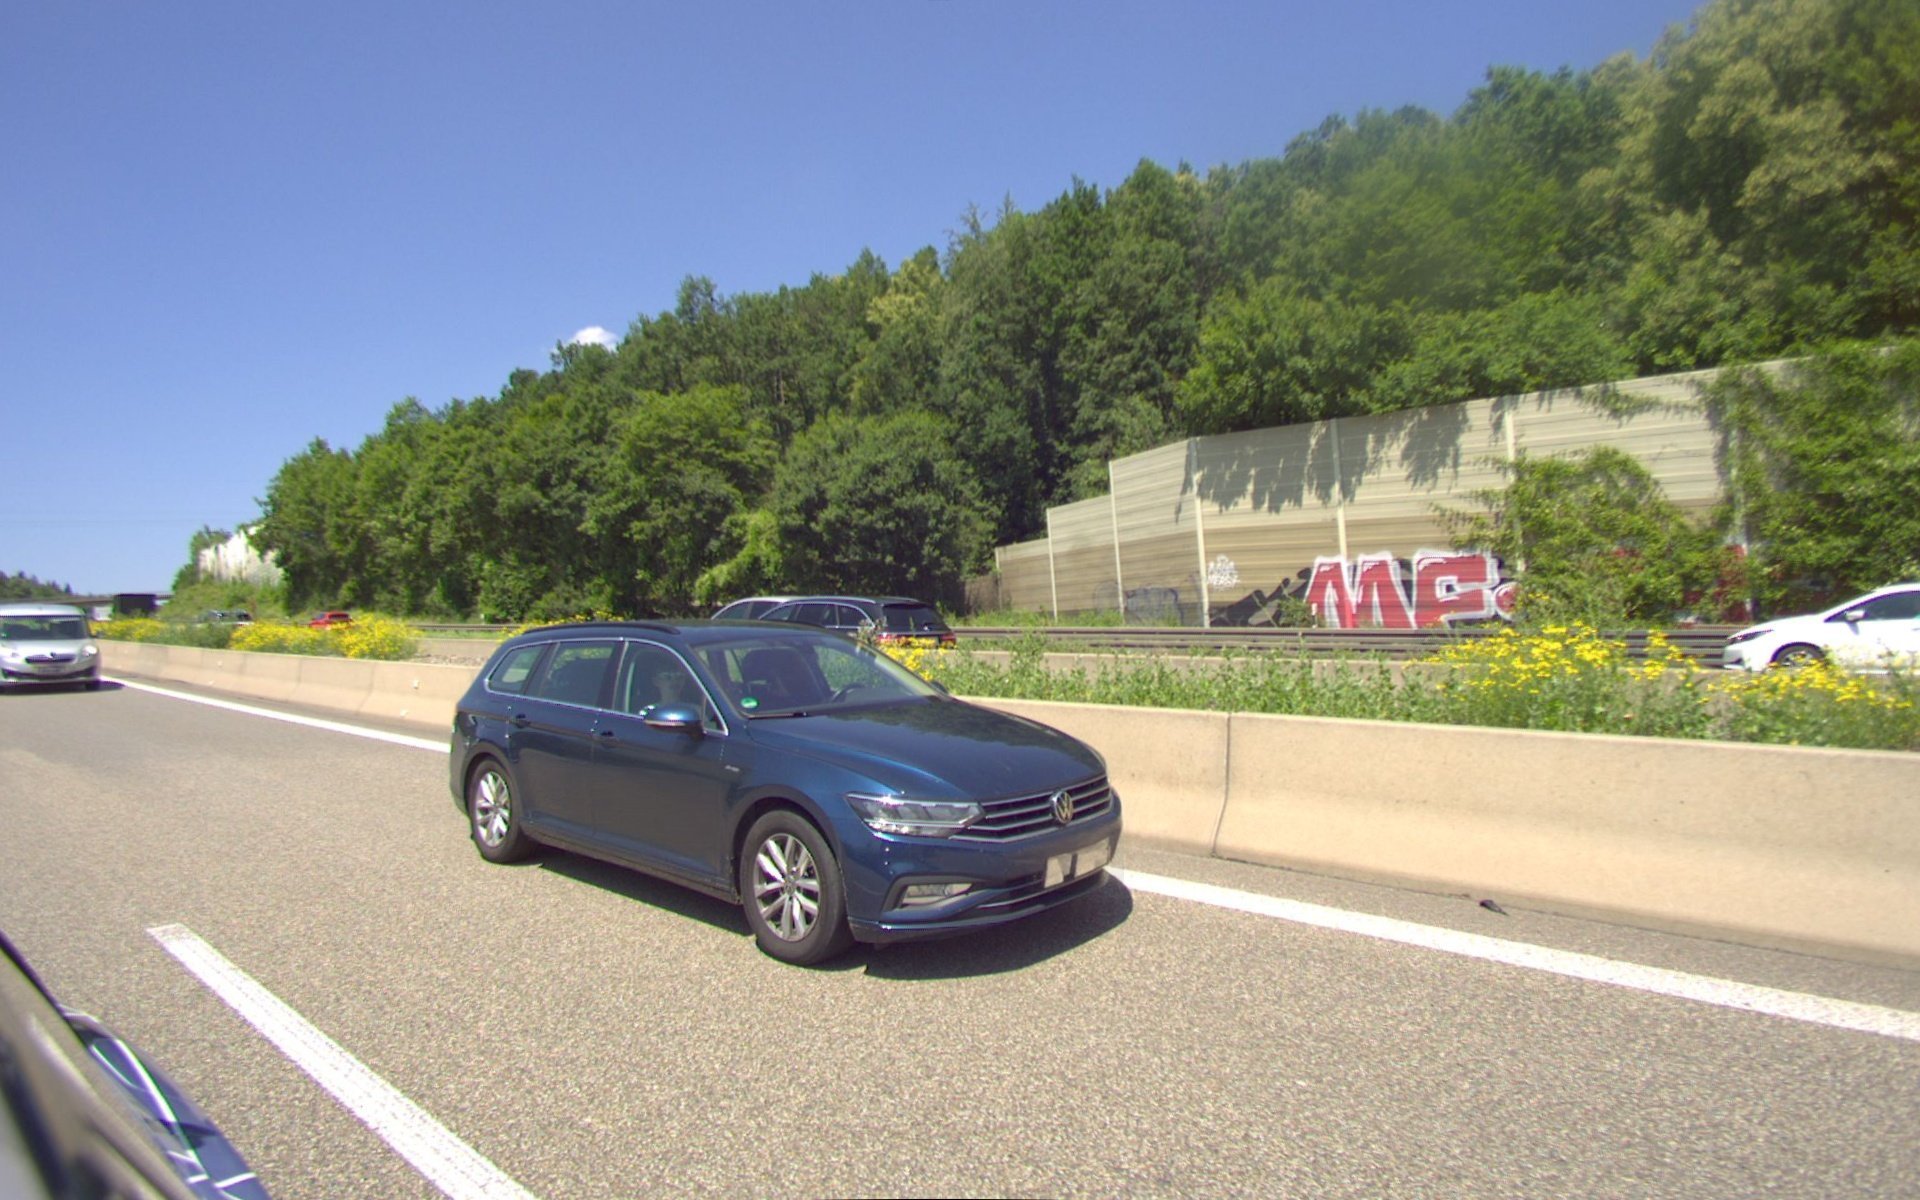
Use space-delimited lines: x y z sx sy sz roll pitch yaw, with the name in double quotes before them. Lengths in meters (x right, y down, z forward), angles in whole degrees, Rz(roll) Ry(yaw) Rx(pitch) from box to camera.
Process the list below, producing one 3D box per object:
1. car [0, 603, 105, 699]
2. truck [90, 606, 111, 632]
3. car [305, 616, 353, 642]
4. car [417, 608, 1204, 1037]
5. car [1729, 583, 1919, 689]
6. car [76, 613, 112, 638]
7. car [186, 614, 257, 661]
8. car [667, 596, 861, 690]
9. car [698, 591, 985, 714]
"car" -19.779 1.036 21.618 3.998 1.858 1.757 -2 -1 42
"truck" -137.080 3.067 161.482 2.352 3.986 6.915 0 -1 -39
"car" -42.050 1.934 67.408 3.998 1.647 1.709 -1 -1 42
"car" -1.198 0.814 5.668 4.728 1.438 1.714 -2 -1 42
"car" 14.140 0.507 14.935 4.311 1.493 1.613 -2 -1 42
"car" -63.632 1.848 74.333 3.883 1.784 1.516 -2 -1 42
"car" -29.920 1.499 40.955 3.883 1.784 1.516 -2 -1 42
"car" -4.496 0.903 22.861 4.504 1.913 1.972 -1 -1 42
"car" -1.967 0.744 15.650 4.688 1.635 1.705 -1 -1 41
